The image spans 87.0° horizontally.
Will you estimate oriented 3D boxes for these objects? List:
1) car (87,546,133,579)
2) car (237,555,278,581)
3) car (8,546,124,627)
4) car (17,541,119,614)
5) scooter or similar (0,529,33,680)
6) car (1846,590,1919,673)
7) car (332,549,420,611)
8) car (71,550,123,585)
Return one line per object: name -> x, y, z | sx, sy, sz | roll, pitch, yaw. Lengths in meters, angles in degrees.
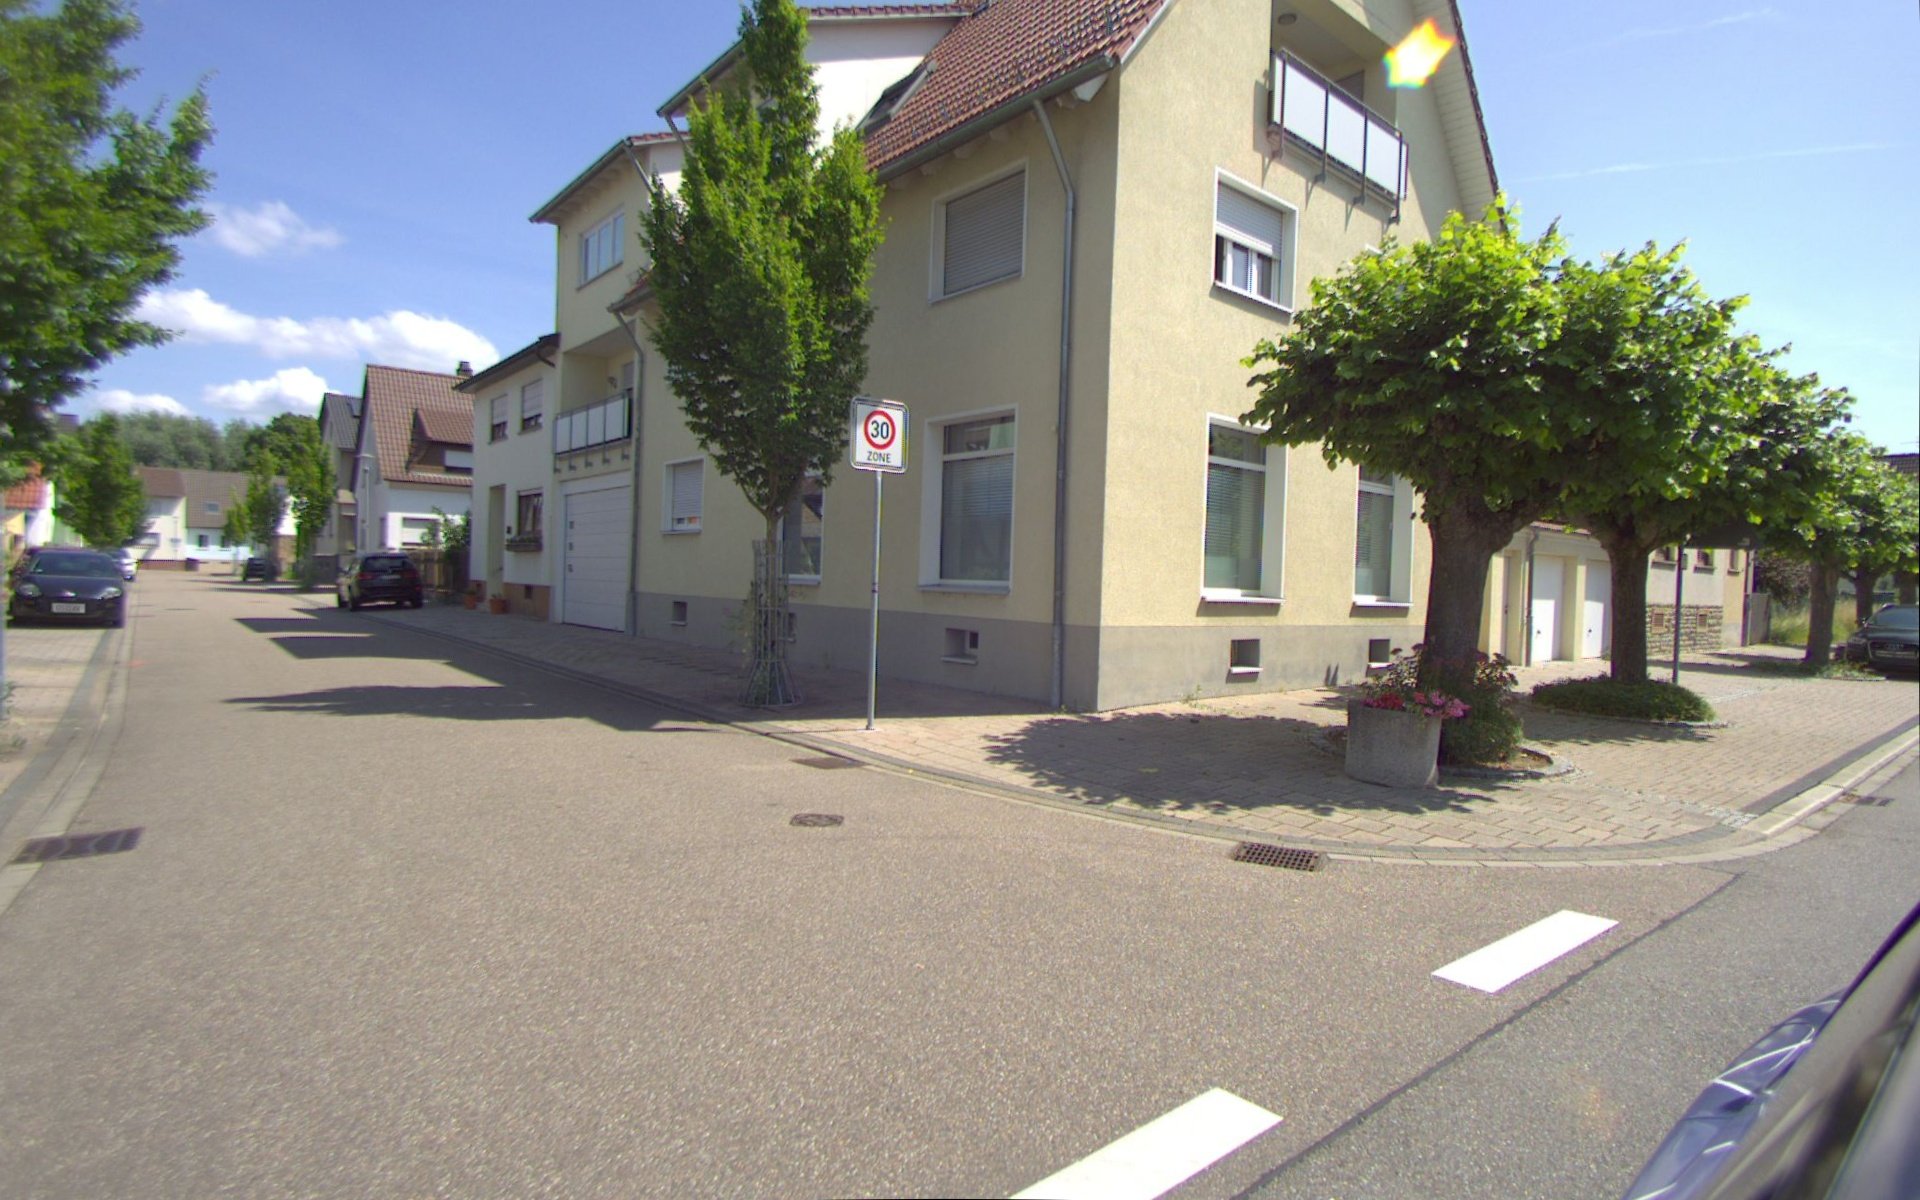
car -> -43.067, -1.862, 51.296 | 1.709, 1.554, 3.735 | 1, 0, -40
car -> -42.936, -1.987, 61.816 | 1.710, 1.430, 3.736 | -2, 4, -40
car -> -17.878, -0.264, 20.342 | 1.596, 1.475, 3.735 | 1, 0, -40
car -> -21.645, -0.524, 24.662 | 1.709, 1.618, 3.735 | 1, 0, -40
scooter or similar -> -11.353, -0.002, 11.365 | 1.169, 1.668, 1.097 | 4, -1, -36
car -> 20.785, 0.674, 21.700 | 3.981, 1.605, 1.830 | 1, 2, -37
car -> -18.037, -0.674, 31.203 | 1.710, 1.741, 3.736 | -2, 4, -40
car -> -35.110, -1.294, 41.213 | 1.518, 1.337, 3.146 | 1, 0, -40
